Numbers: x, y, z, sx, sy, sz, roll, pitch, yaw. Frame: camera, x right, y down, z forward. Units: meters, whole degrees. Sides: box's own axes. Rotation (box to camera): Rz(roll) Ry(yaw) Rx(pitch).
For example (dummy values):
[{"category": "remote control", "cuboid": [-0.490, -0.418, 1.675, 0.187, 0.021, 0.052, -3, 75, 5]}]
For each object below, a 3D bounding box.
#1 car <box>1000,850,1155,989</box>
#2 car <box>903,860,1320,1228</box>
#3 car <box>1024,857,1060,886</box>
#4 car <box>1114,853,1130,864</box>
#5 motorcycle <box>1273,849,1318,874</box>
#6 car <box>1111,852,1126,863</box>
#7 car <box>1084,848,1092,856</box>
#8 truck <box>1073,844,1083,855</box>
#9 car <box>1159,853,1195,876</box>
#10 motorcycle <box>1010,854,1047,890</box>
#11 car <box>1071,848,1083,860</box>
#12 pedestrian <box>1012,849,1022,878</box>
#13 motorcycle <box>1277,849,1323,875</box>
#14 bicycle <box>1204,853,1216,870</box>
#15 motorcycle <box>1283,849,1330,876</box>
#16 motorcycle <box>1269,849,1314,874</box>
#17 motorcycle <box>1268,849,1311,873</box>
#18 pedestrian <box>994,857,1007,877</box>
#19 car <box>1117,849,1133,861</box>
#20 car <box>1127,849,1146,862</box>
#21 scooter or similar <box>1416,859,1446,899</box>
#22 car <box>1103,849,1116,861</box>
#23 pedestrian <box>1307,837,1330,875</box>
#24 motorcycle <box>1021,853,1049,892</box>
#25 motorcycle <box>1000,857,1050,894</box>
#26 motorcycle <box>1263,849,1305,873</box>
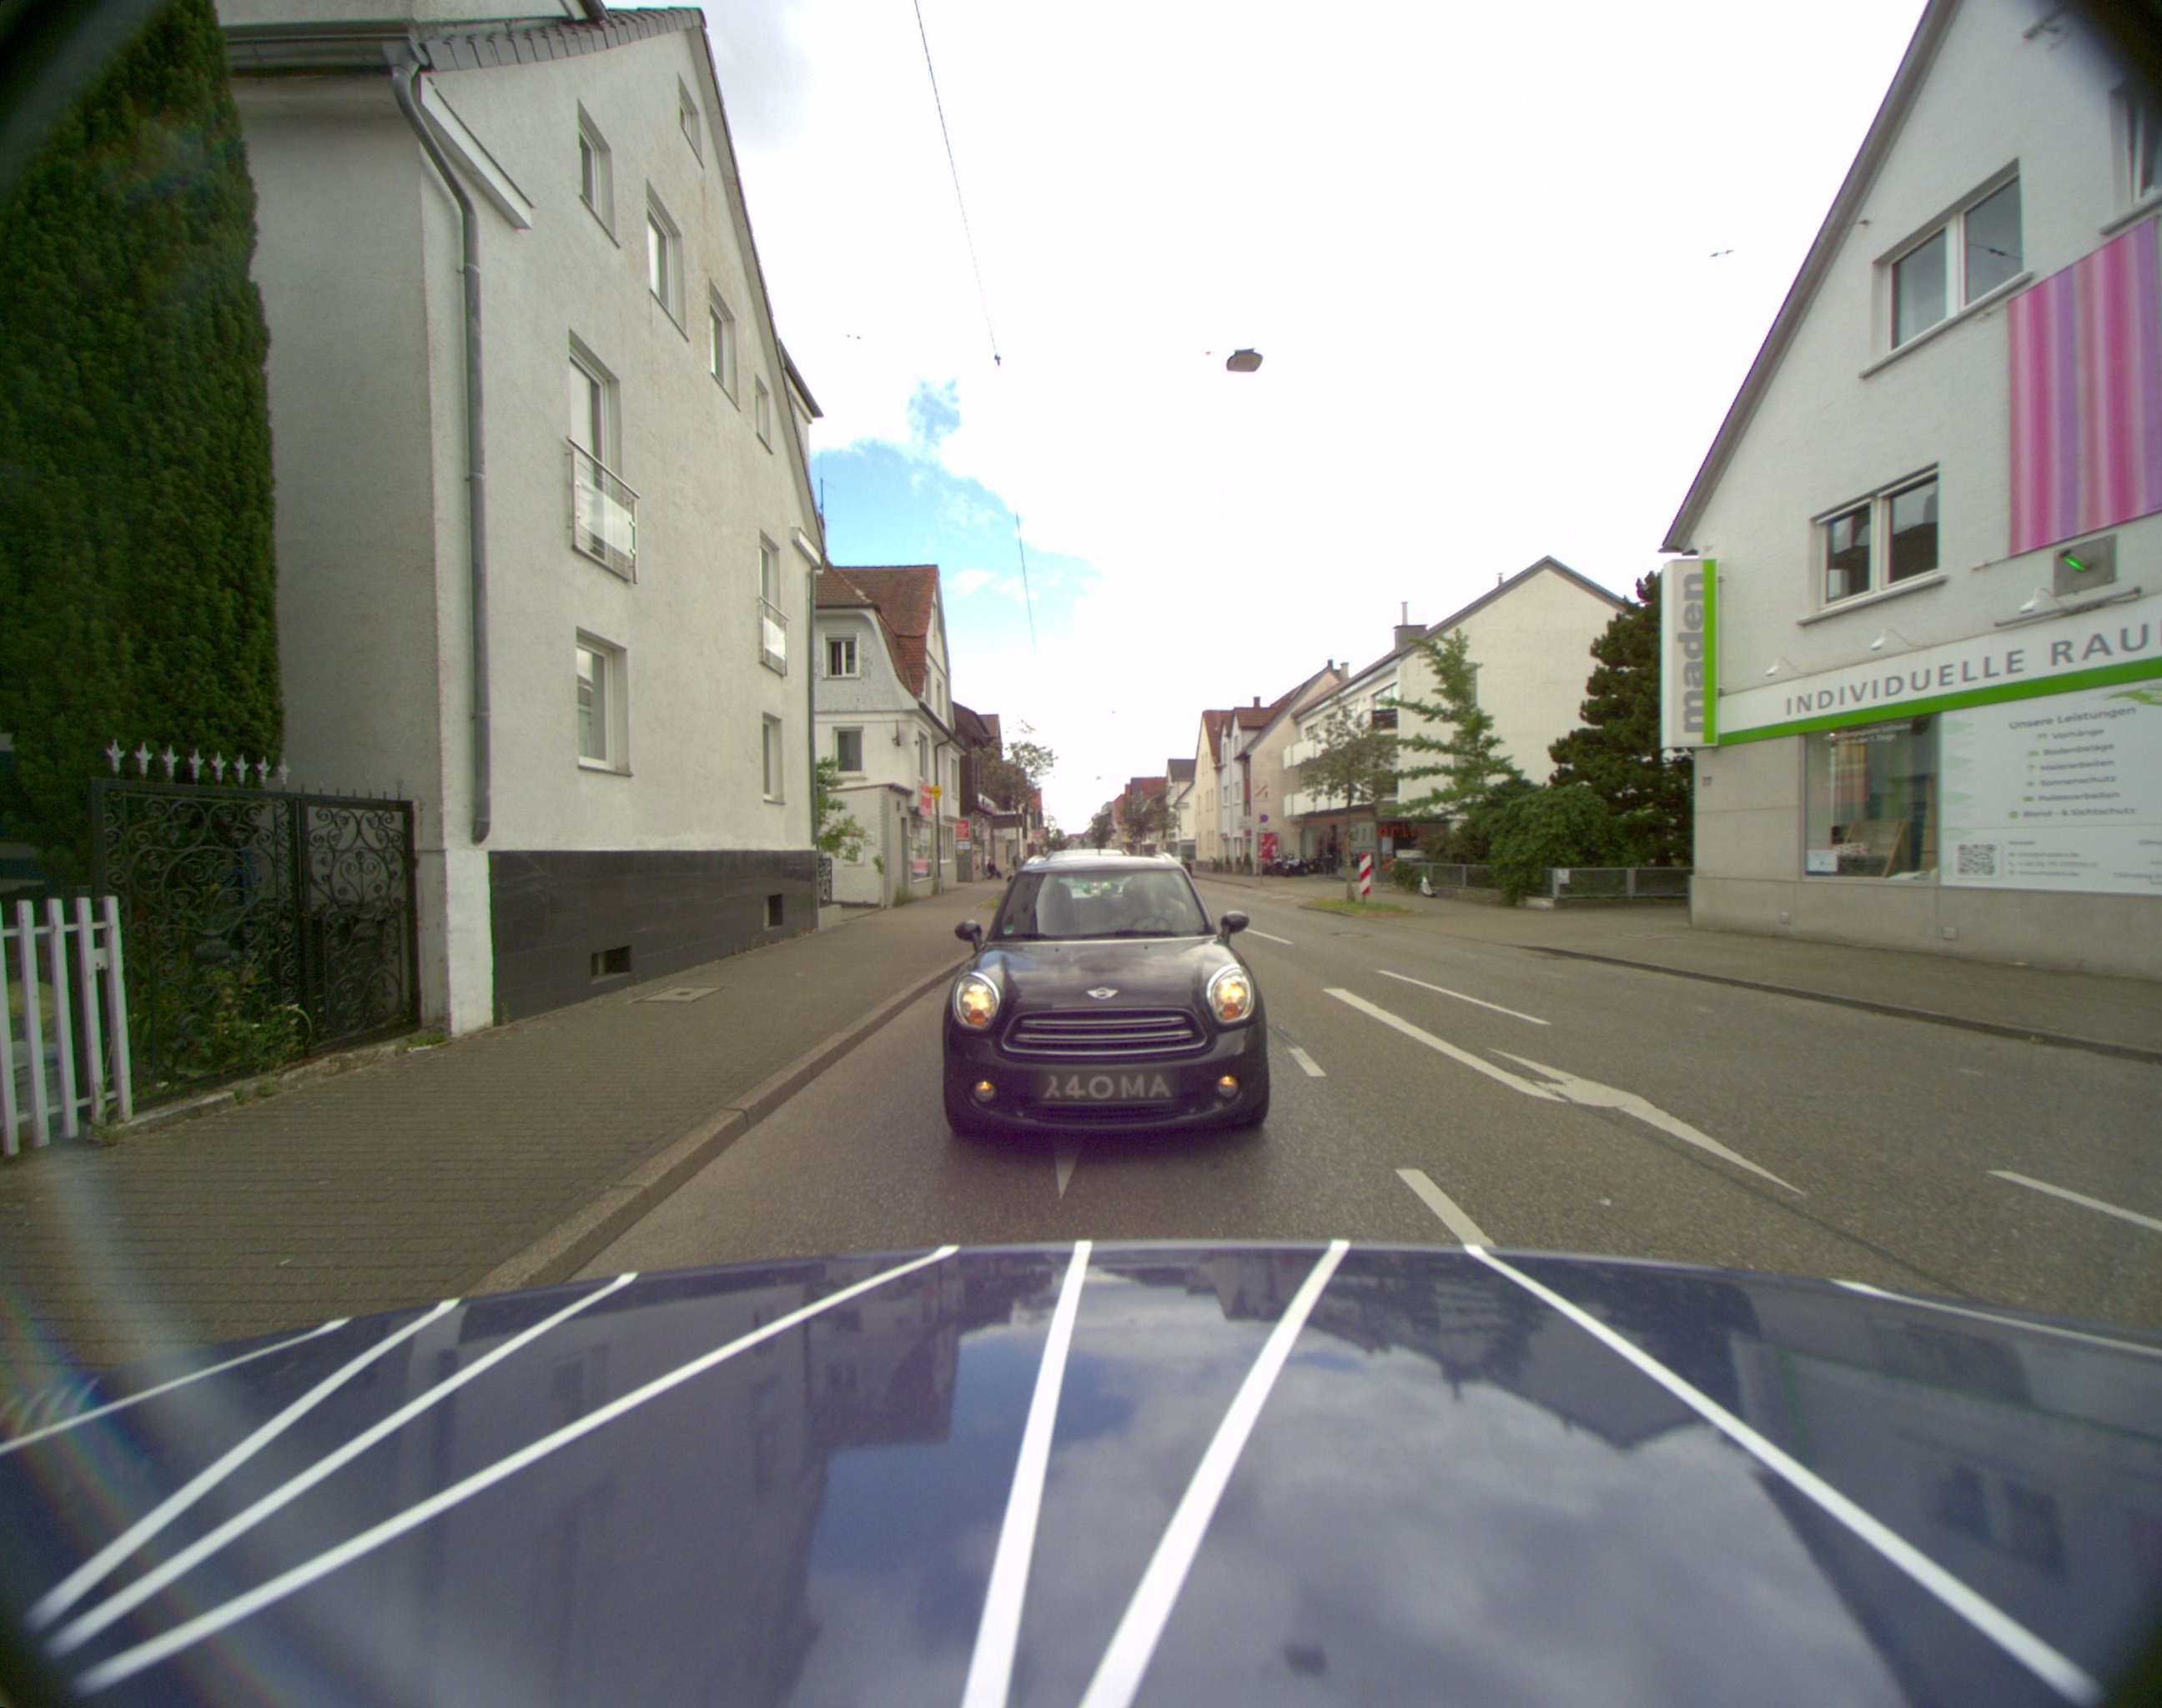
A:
[{"category": "car", "cuboid": [-0.022, 0.794, 11.678, 1.855, 1.615, 4.736, -2, 1, 0]}, {"category": "car", "cuboid": [0.066, 0.877, 5.820, 1.855, 1.527, 4.735, -2, 1, -2]}, {"category": "car", "cuboid": [-2.168, 0.953, 43.280, 1.830, 1.401, 4.564, -2, 1, -1]}, {"category": "car", "cuboid": [5.496, 0.549, 102.239, 1.716, 1.389, 3.899, -2, 1, -2]}, {"category": "motorcycle", "cuboid": [11.787, 0.407, 41.820, 2.231, 1.258, 0.613, -4, 1, -2]}, {"category": "car", "cuboid": [5.282, 0.504, 107.881, 1.716, 1.389, 3.899, -2, 1, -2]}, {"category": "car", "cuboid": [1.845, -0.494, 193.161, 1.855, 1.932, 4.489, 1, 1, -2]}, {"category": "truck", "cuboid": [-0.859, -1.226, 219.359, 2.800, 3.020, 8.249, -2, 1, 0]}, {"category": "car", "cuboid": [6.449, 0.673, 51.219, 1.792, 1.409, 4.340, 0, 1, -1]}, {"category": "motorcycle", "cuboid": [-2.249, 0.768, 33.018, 0.648, 1.432, 2.472, -1, 1, 19]}, {"category": "car", "cuboid": [-0.680, 0.027, 137.642, 2.059, 2.002, 4.186, -2, 1, -1]}, {"category": "pedestrian", "cuboid": [-3.912, 0.563, 46.414, 0.644, 1.730, 0.742, 0, 1, -6]}, {"category": "motorcycle", "cuboid": [11.807, 0.414, 40.952, 2.231, 1.258, 0.613, -4, 1, -2]}, {"category": "bicycle", "cuboid": [9.422, 0.546, 55.562, 0.515, 1.189, 2.023, -2, 1, -1]}, {"category": "motorcycle", "cuboid": [11.867, 0.432, 40.072, 2.231, 1.258, 0.613, -4, 1, -2]}, {"category": "motorcycle", "cuboid": [11.790, 0.410, 42.546, 2.231, 1.258, 0.699, -4, 1, -2]}, {"category": "motorcycle", "cuboid": [11.865, 0.387, 43.317, 2.231, 1.258, 0.613, -4, 1, -2]}, {"category": "pedestrian", "cuboid": [-4.942, 0.816, 46.915, 0.742, 1.204, 0.644, 0, 1, -1]}, {"category": "car", "cuboid": [5.633, 0.129, 97.243, 1.716, 1.389, 3.899, -2, 1, -2]}, {"category": "car", "cuboid": [6.297, 0.198, 86.621, 1.716, 1.389, 3.899, -2, 1, -2]}, {"category": "scooter or similar", "cuboid": [10.367, 0.723, 22.523, 0.340, 1.105, 1.180, -2, 1, 0]}, {"category": "car", "cuboid": [4.650, 0.157, 124.359, 1.999, 1.772, 3.999, -2, 1, 0]}, {"category": "pedestrian", "cuboid": [12.186, 0.103, 39.041, 0.753, 1.839, 1.019, -5, 1, 0]}, {"category": "motorcycle", "cuboid": [-1.897, 0.728, 31.674, 0.672, 1.516, 2.598, -2, 1, 6]}, {"category": "motorcycle", "cuboid": [-2.189, 0.813, 29.377, 0.777, 1.373, 2.237, -3, 1, -37]}, {"category": "motorcycle", "cuboid": [11.766, 0.387, 44.052, 2.231, 1.258, 0.613, -4, 1, -2]}]
